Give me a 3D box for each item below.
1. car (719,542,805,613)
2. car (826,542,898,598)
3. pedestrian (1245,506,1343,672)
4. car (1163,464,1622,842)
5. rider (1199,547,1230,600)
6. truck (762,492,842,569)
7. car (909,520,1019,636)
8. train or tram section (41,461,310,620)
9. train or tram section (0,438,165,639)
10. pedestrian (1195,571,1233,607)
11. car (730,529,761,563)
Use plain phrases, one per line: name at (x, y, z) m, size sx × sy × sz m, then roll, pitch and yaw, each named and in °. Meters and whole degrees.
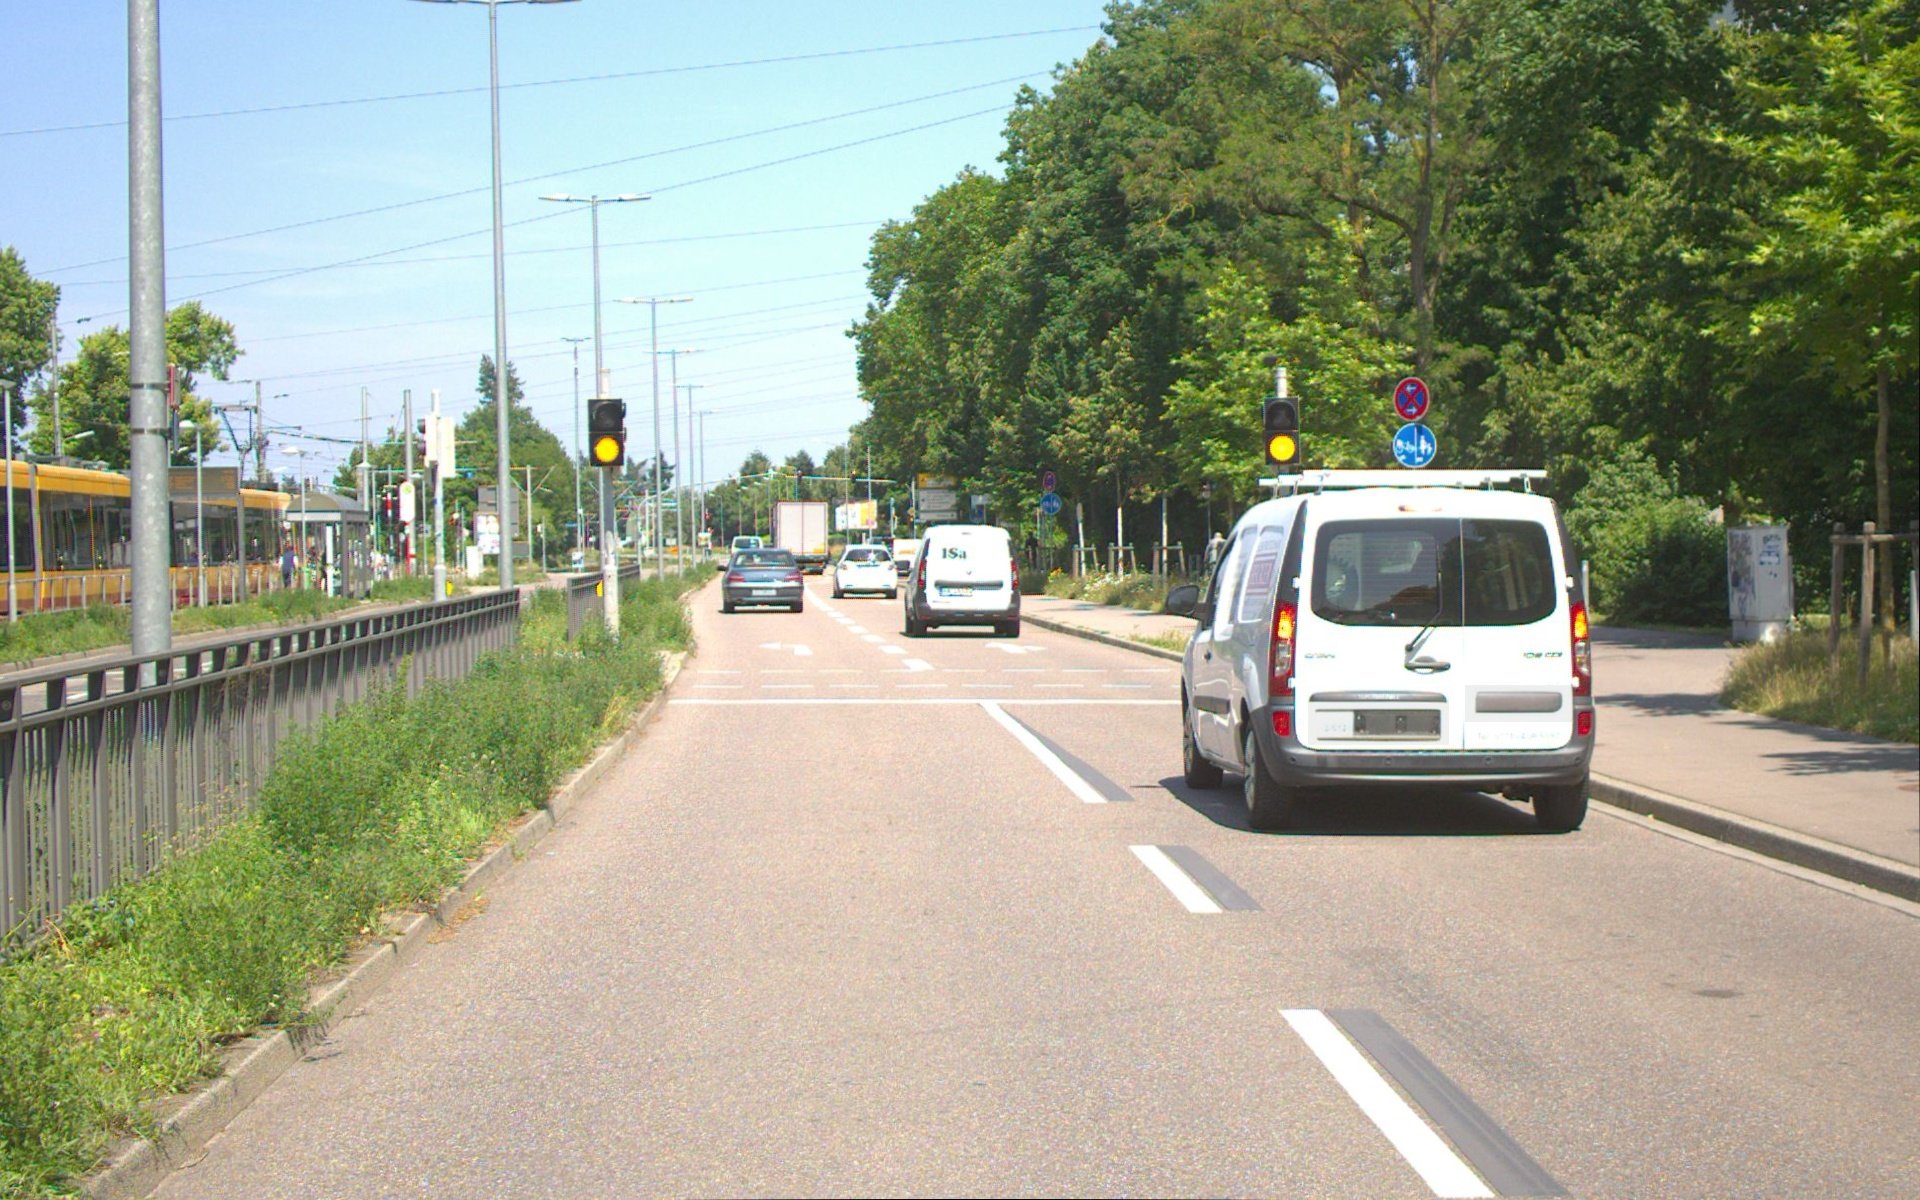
car at (-4.301, -0.508, 74.778) m, size 1.801 × 1.481 × 4.001 m, roll -1°, pitch 1°, yaw -3°
car at (-2.784, -0.857, 96.830) m, size 1.803 × 1.534 × 4.001 m, roll -1°, pitch 1°, yaw -4°
pedestrian at (3.768, -0.126, 38.690) m, size 1.047 × 1.844 × 0.757 m, roll 0°, pitch 1°, yaw 10°
car at (2.288, 0.230, 19.351) m, size 1.824 × 1.875 × 4.456 m, roll 0°, pitch 1°, yaw -3°
rider at (6.129, -0.638, 82.777) m, size 0.678 × 1.277 × 0.534 m, roll -1°, pitch 1°, yaw -3°
truck at (-8.240, -3.572, 177.805) m, size 3.898 × 3.800 × 10.794 m, roll -1°, pitch 1°, yaw -4°
car at (0.078, -0.400, 56.145) m, size 1.728 × 1.807 × 4.000 m, roll 0°, pitch 1°, yaw 1°
train or tram section at (-20.624, -1.576, 92.631) m, size 2.787 × 3.655 × 26.003 m, roll -1°, pitch 1°, yaw -3°
train or tram section at (-18.736, -1.086, 60.958) m, size 2.787 × 3.655 × 37.523 m, roll -1°, pitch 1°, yaw -3°
pedestrian at (6.121, -0.279, 82.836) m, size 0.678 × 0.845 × 1.774 m, roll -1°, pitch 1°, yaw -4°
car at (-12.085, -3.058, 193.876) m, size 1.687 × 1.891 × 3.871 m, roll -1°, pitch 1°, yaw -4°
